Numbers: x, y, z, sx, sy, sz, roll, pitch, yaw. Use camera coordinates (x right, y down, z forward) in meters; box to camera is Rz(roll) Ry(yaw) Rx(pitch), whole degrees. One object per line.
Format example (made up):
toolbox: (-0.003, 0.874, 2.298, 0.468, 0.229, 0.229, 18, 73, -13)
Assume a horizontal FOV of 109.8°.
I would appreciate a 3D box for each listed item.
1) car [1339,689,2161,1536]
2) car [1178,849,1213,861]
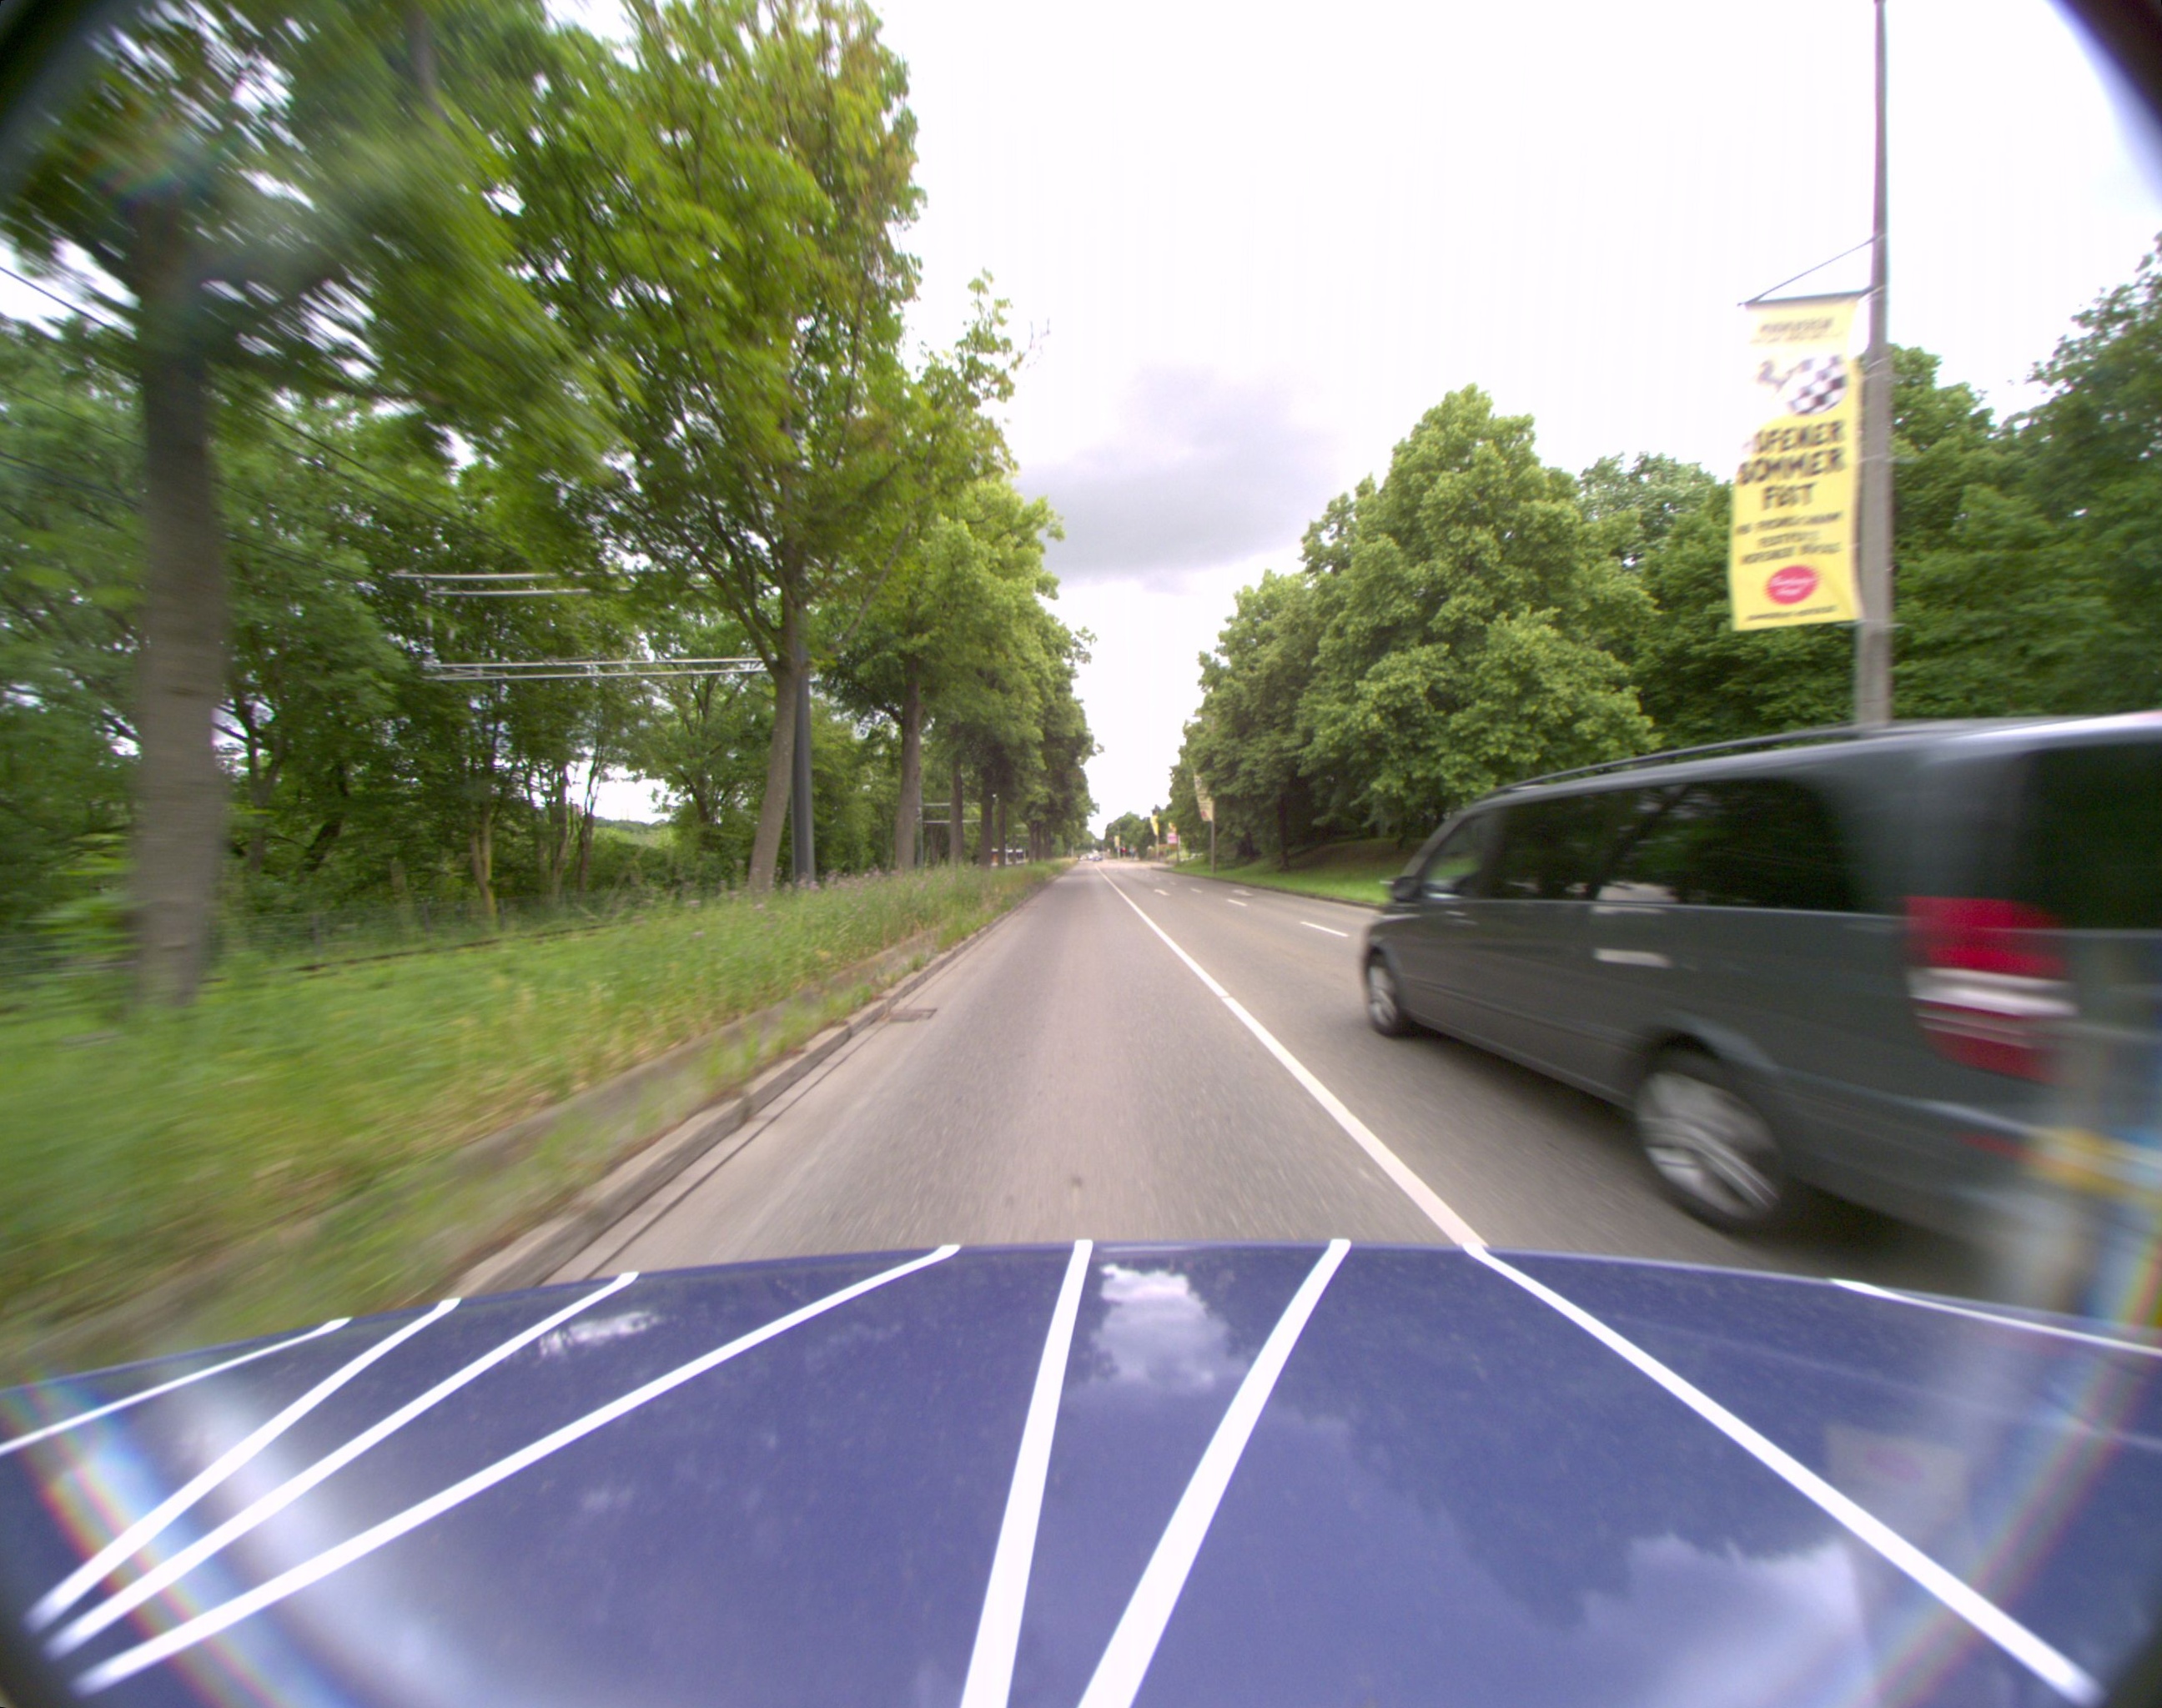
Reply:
car: (3.311, 0.555, 4.311, 1.998, 1.944, 5.183, -1, 1, 1)
car: (14.974, 0.140, 99.779, 4.220, 1.483, 1.749, -2, -1, -3)
